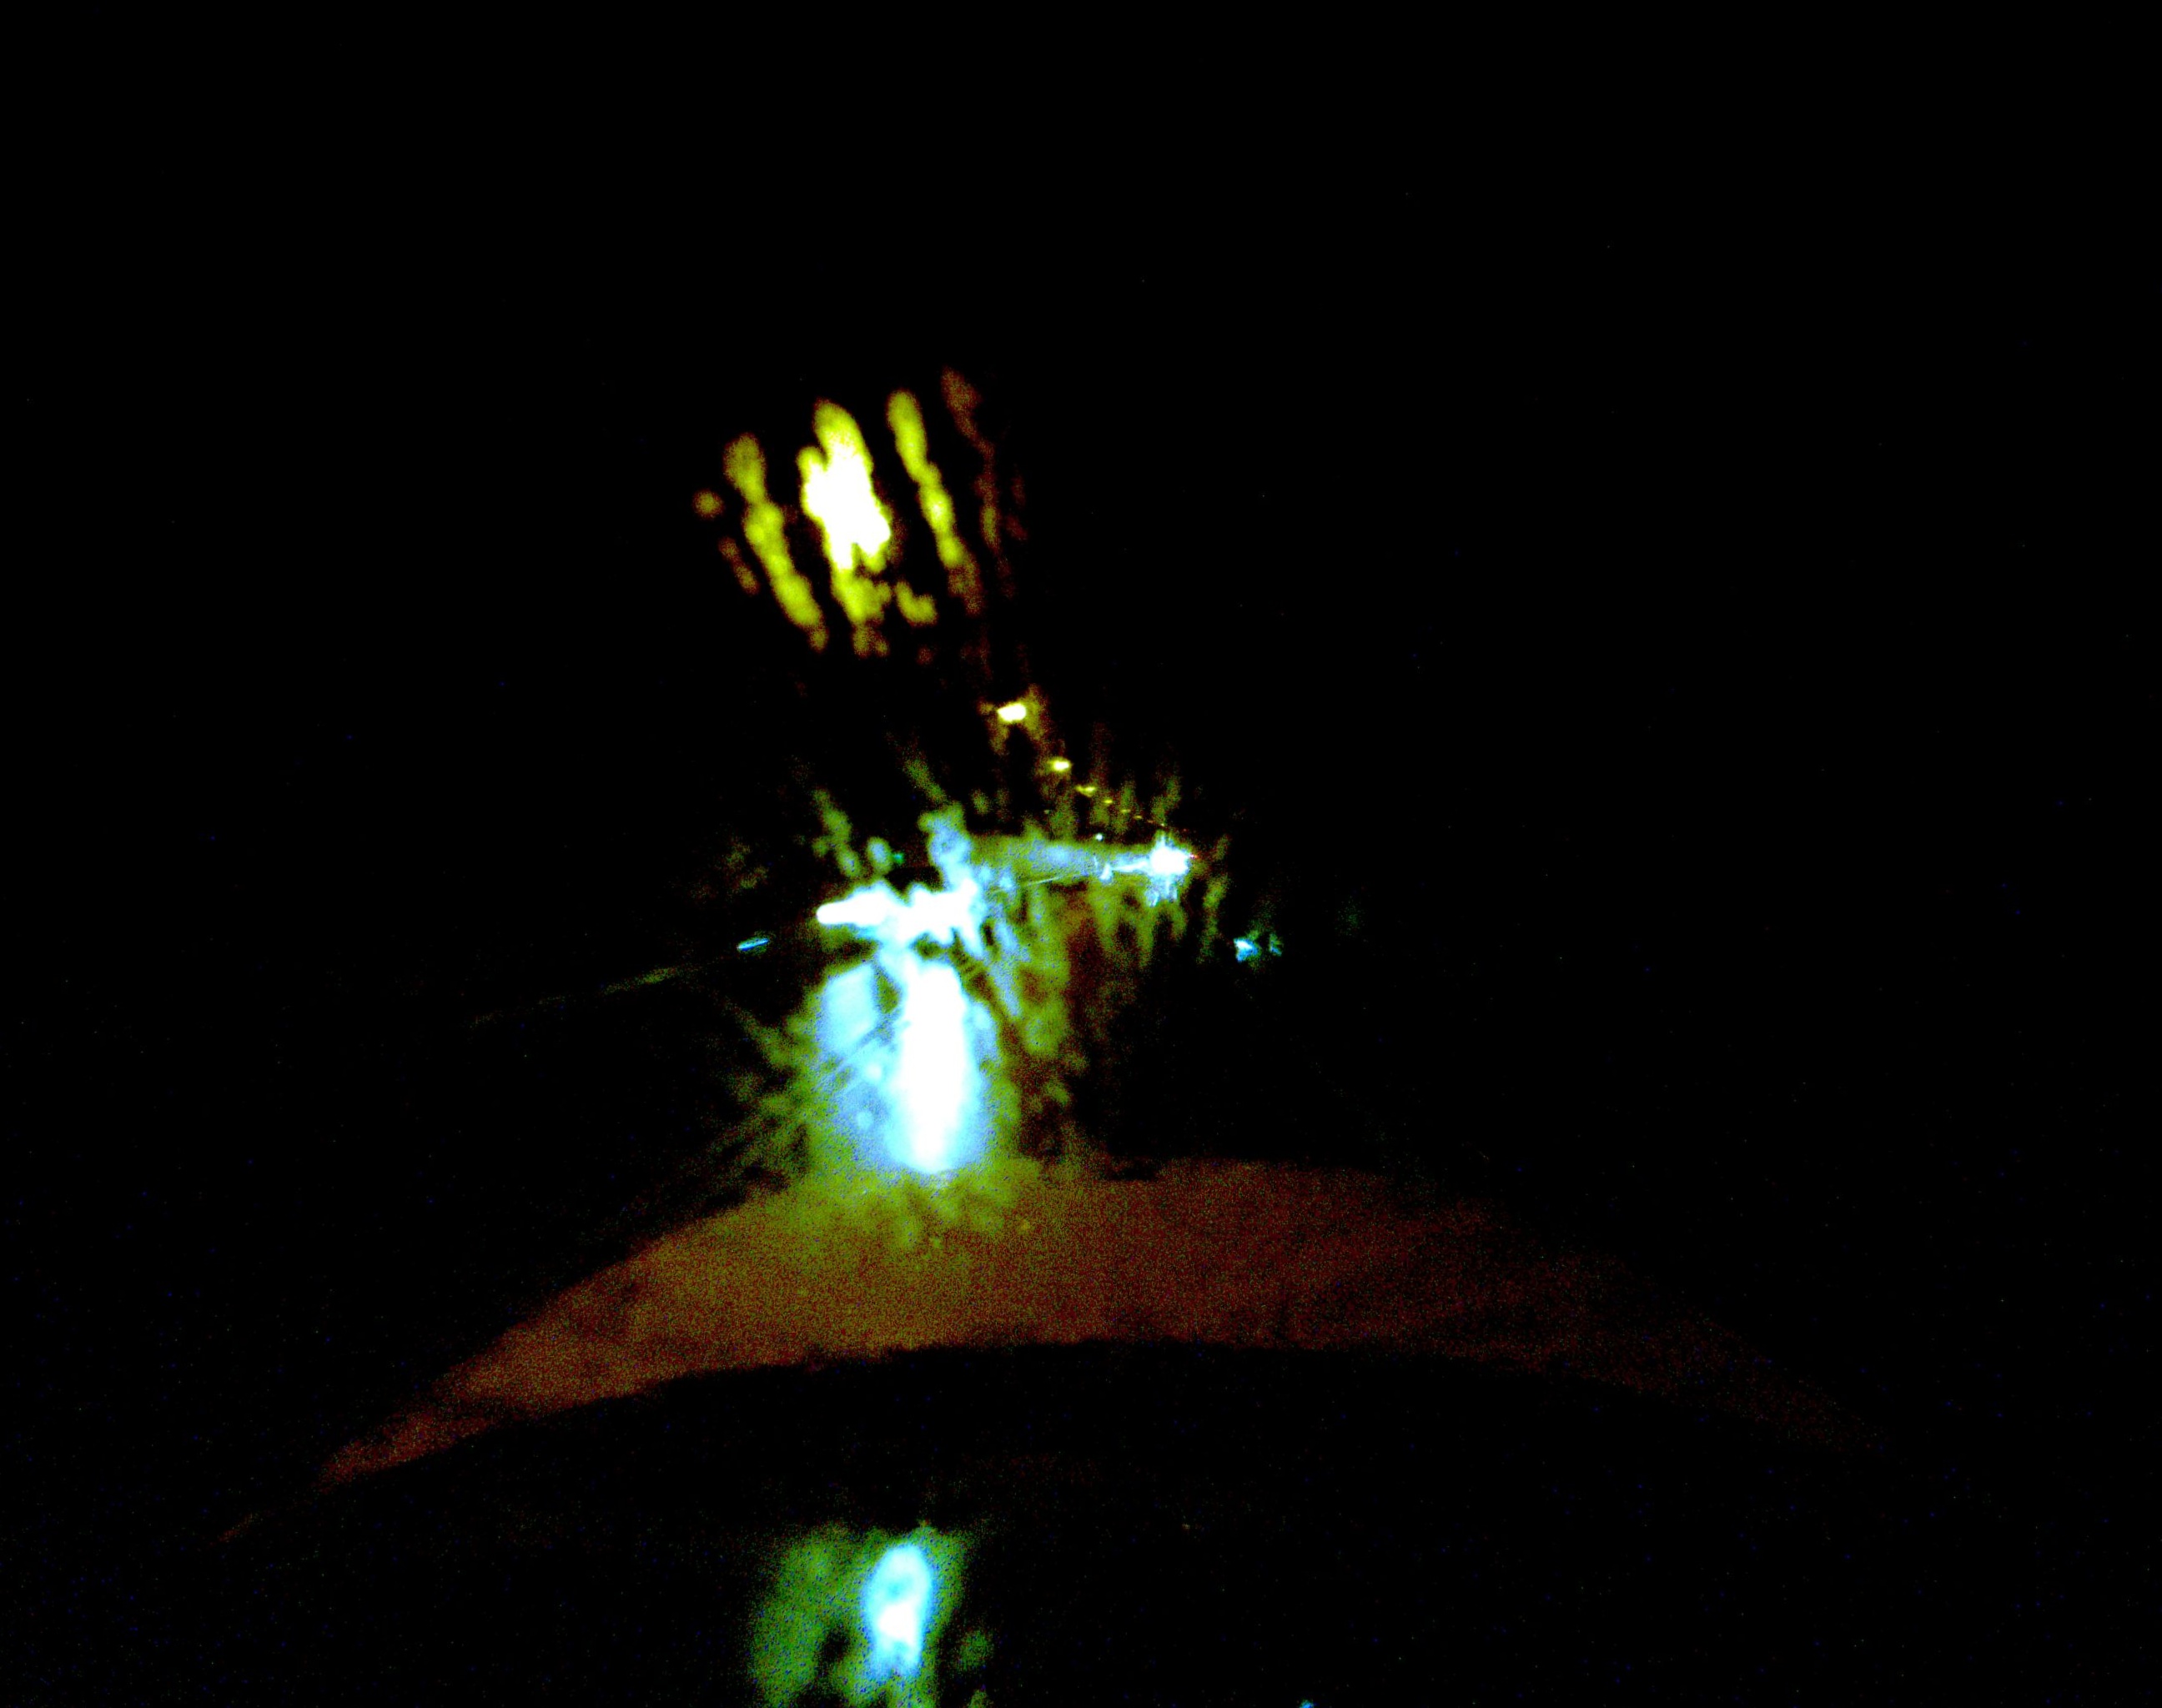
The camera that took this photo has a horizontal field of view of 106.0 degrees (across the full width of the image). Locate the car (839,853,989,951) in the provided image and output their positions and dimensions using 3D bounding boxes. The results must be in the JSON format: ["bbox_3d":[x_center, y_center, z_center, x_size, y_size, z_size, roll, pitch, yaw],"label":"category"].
[{"bbox_3d":[-2.838,0.754,14.741,1.702,1.510,4.082,0,0,2],"label":"car"}]

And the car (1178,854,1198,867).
[{"bbox_3d":[14.070,0.897,106.807,1.978,1.650,4.018,-1,0,17],"label":"car"}]

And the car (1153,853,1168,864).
[{"bbox_3d":[10.275,0.536,105.152,1.703,1.378,4.596,0,0,8],"label":"car"}]
